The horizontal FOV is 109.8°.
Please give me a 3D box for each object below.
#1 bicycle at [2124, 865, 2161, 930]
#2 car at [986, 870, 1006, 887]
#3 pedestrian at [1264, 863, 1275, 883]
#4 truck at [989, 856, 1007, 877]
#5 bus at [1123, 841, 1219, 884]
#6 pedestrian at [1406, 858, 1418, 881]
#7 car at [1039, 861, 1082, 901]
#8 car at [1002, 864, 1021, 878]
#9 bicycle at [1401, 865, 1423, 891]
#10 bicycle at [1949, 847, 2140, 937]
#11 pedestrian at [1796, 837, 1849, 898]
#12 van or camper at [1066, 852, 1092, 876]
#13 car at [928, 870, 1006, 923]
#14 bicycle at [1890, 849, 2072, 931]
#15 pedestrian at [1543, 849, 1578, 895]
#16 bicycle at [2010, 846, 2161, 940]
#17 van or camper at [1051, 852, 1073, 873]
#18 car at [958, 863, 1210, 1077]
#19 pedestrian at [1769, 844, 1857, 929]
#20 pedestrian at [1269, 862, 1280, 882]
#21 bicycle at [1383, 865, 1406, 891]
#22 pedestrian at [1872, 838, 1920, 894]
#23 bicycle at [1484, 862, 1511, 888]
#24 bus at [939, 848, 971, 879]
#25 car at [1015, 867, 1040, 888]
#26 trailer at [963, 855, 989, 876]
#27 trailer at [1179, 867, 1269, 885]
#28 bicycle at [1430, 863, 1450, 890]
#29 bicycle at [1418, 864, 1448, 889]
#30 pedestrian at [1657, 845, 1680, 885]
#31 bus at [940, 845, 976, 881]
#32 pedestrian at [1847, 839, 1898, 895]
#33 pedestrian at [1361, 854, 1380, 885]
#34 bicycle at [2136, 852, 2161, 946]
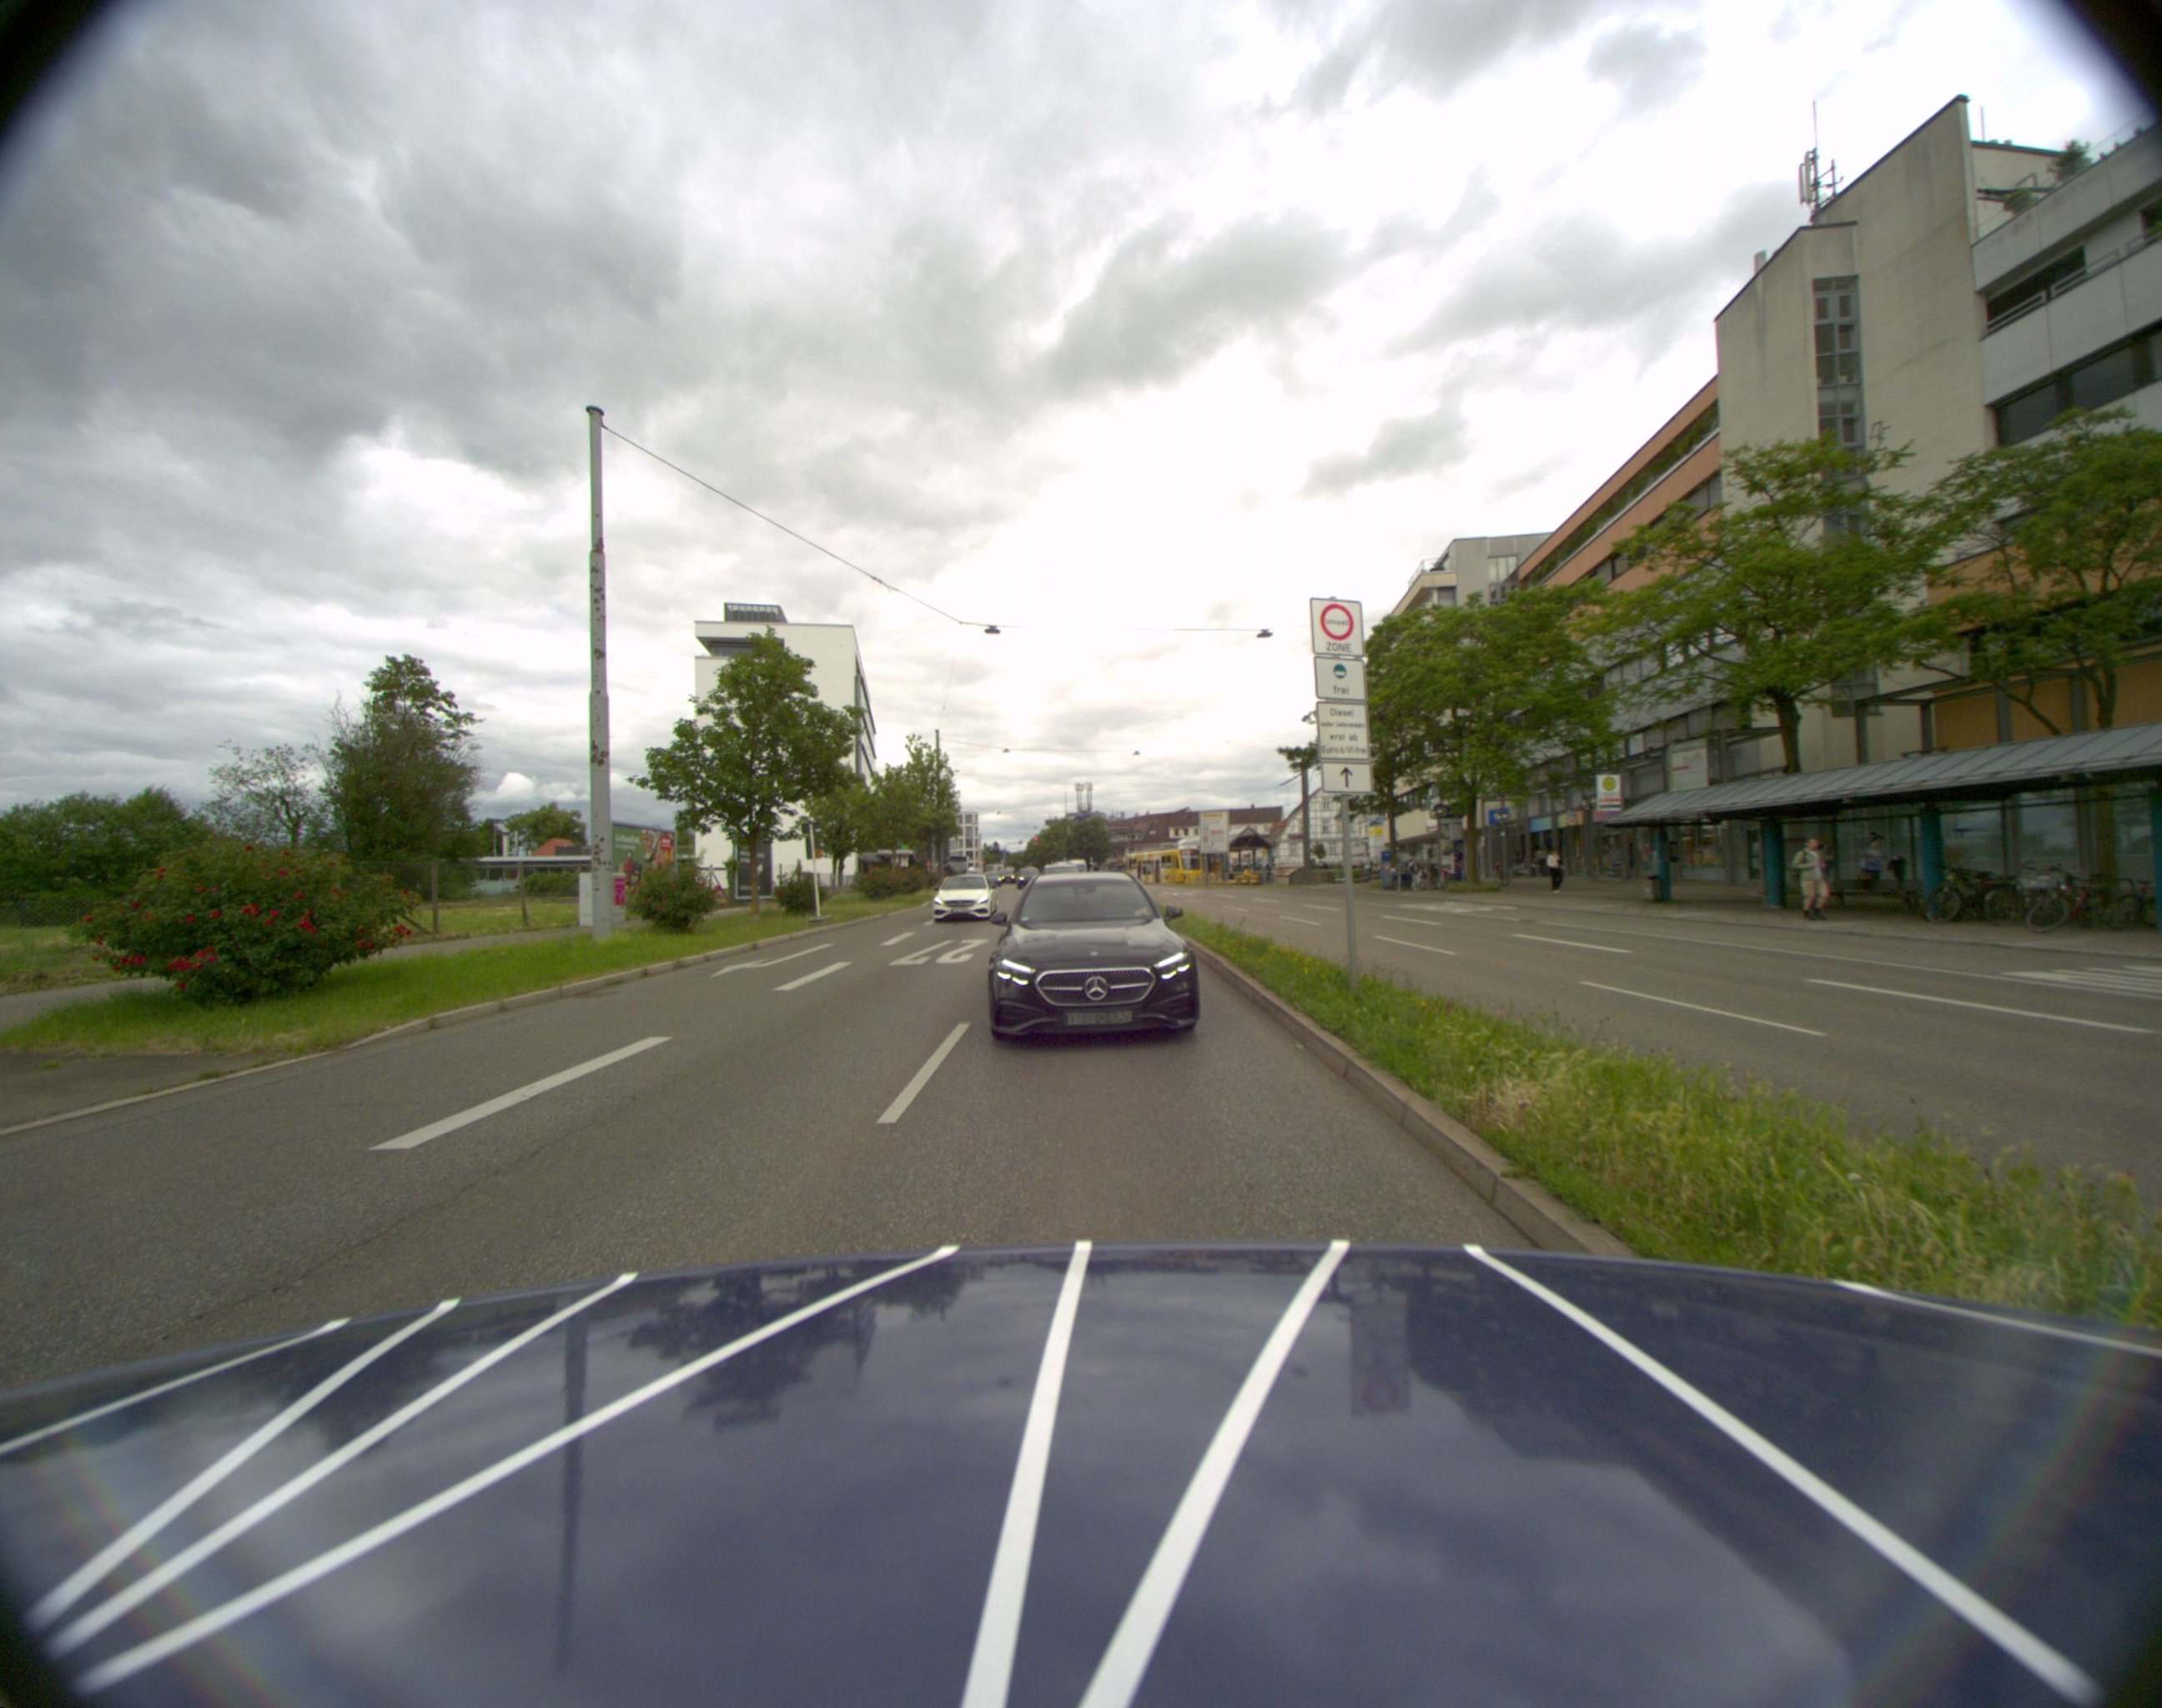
[{"bbox_3d":[20.037,0.732,13.294,2.908,1.106,0.805,-1,-1,-8],"label":"bicycle"},{"bbox_3d":[-7.977,2.318,71.490,1.736,1.474,4.367,-2,-1,-5],"label":"car"},{"bbox_3d":[14.707,1.475,59.336,0.601,1.564,0.620,-1,-1,-10],"label":"pedestrian"},{"bbox_3d":[-16.254,2.444,148.085,2.948,3.933,9.159,1,-2,-10],"label":"truck"},{"bbox_3d":[8.652,1.001,77.549,3.891,3.836,19.326,-1,-1,-11],"label":"bus"},{"bbox_3d":[24.091,1.126,55.262,0.551,1.690,0.628,-1,-1,-9],"label":"pedestrian"},{"bbox_3d":[-0.895,1.214,35.267,1.735,1.680,4.369,-2,-1,1],"label":"car"},{"bbox_3d":[-8.290,2.027,90.857,1.735,1.544,4.369,-2,-1,1],"label":"car"},{"bbox_3d":[15.513,1.124,35.615,0.603,1.154,1.969,-2,-1,32],"label":"bicycle"},{"bbox_3d":[18.629,0.712,14.715,2.908,1.498,0.891,-4,0,-8],"label":"bicycle"},{"bbox_3d":[21.835,0.391,22.387,0.774,1.706,0.788,-3,0,18],"label":"pedestrian"},{"bbox_3d":[-0.261,1.164,86.087,2.039,2.582,6.111,1,-1,-10],"label":"van or camper"},{"bbox_3d":[-3.669,1.326,25.317,1.872,1.496,4.773,-3,-1,-1],"label":"car"},{"bbox_3d":[18.556,0.719,15.693,2.908,1.497,0.972,-3,0,-8],"label":"bicycle"},{"bbox_3d":[18.416,0.685,29.208,0.777,1.702,0.706,-3,0,-5],"label":"pedestrian"},{"bbox_3d":[18.707,0.675,13.804,2.907,1.497,0.811,-3,0,-6],"label":"bicycle"},{"bbox_3d":[-2.459,1.139,97.975,2.000,2.582,6.112,1,-1,-9],"label":"van or camper"},{"bbox_3d":[-0.025,0.964,8.375,1.872,1.542,4.773,-4,-1,-1],"label":"car"},{"bbox_3d":[16.421,0.711,17.078,0.705,1.812,1.213,-3,1,-3],"label":"pedestrian"},{"bbox_3d":[15.253,1.409,59.902,0.601,1.564,0.620,-1,-1,-10],"label":"pedestrian"},{"bbox_3d":[14.983,1.134,36.316,0.603,1.154,1.969,-4,-1,33],"label":"bicycle"},{"bbox_3d":[23.730,0.347,22.131,0.634,1.590,0.622,-3,0,-3],"label":"pedestrian"},{"bbox_3d":[19.329,0.972,35.254,0.672,1.154,2.023,-2,-1,40],"label":"bicycle"},{"bbox_3d":[-13.947,1.105,83.581,3.047,3.216,9.330,-1,-1,-12],"label":"bus"},{"bbox_3d":[-3.990,1.728,56.741,1.736,1.474,4.368,-2,-1,-5],"label":"car"},{"bbox_3d":[-23.764,2.613,171.395,3.115,4.243,14.828,-1,-2,-18],"label":"trailer"},{"bbox_3d":[11.238,1.752,61.473,2.851,1.325,12.117,-1,-1,-11],"label":"trailer"},{"bbox_3d":[16.332,1.012,34.520,0.603,1.154,1.693,-2,-1,32],"label":"bicycle"},{"bbox_3d":[16.625,1.073,35.958,0.604,1.154,1.966,-1,-1,4],"label":"bicycle"},{"bbox_3d":[24.275,0.450,31.412,0.633,1.590,0.624,-3,0,32],"label":"pedestrian"},{"bbox_3d":[-12.131,0.891,74.316,2.993,3.221,9.857,-1,-1,-11],"label":"bus"},{"bbox_3d":[23.037,0.383,22.112,0.668,1.574,0.706,-3,0,-5],"label":"pedestrian"},{"bbox_3d":[18.217,0.975,47.882,0.747,1.866,0.873,-1,-1,-8],"label":"pedestrian"},{"bbox_3d":[18.609,0.693,12.102,2.908,1.497,0.805,-1,0,-8],"label":"bicycle"}]
